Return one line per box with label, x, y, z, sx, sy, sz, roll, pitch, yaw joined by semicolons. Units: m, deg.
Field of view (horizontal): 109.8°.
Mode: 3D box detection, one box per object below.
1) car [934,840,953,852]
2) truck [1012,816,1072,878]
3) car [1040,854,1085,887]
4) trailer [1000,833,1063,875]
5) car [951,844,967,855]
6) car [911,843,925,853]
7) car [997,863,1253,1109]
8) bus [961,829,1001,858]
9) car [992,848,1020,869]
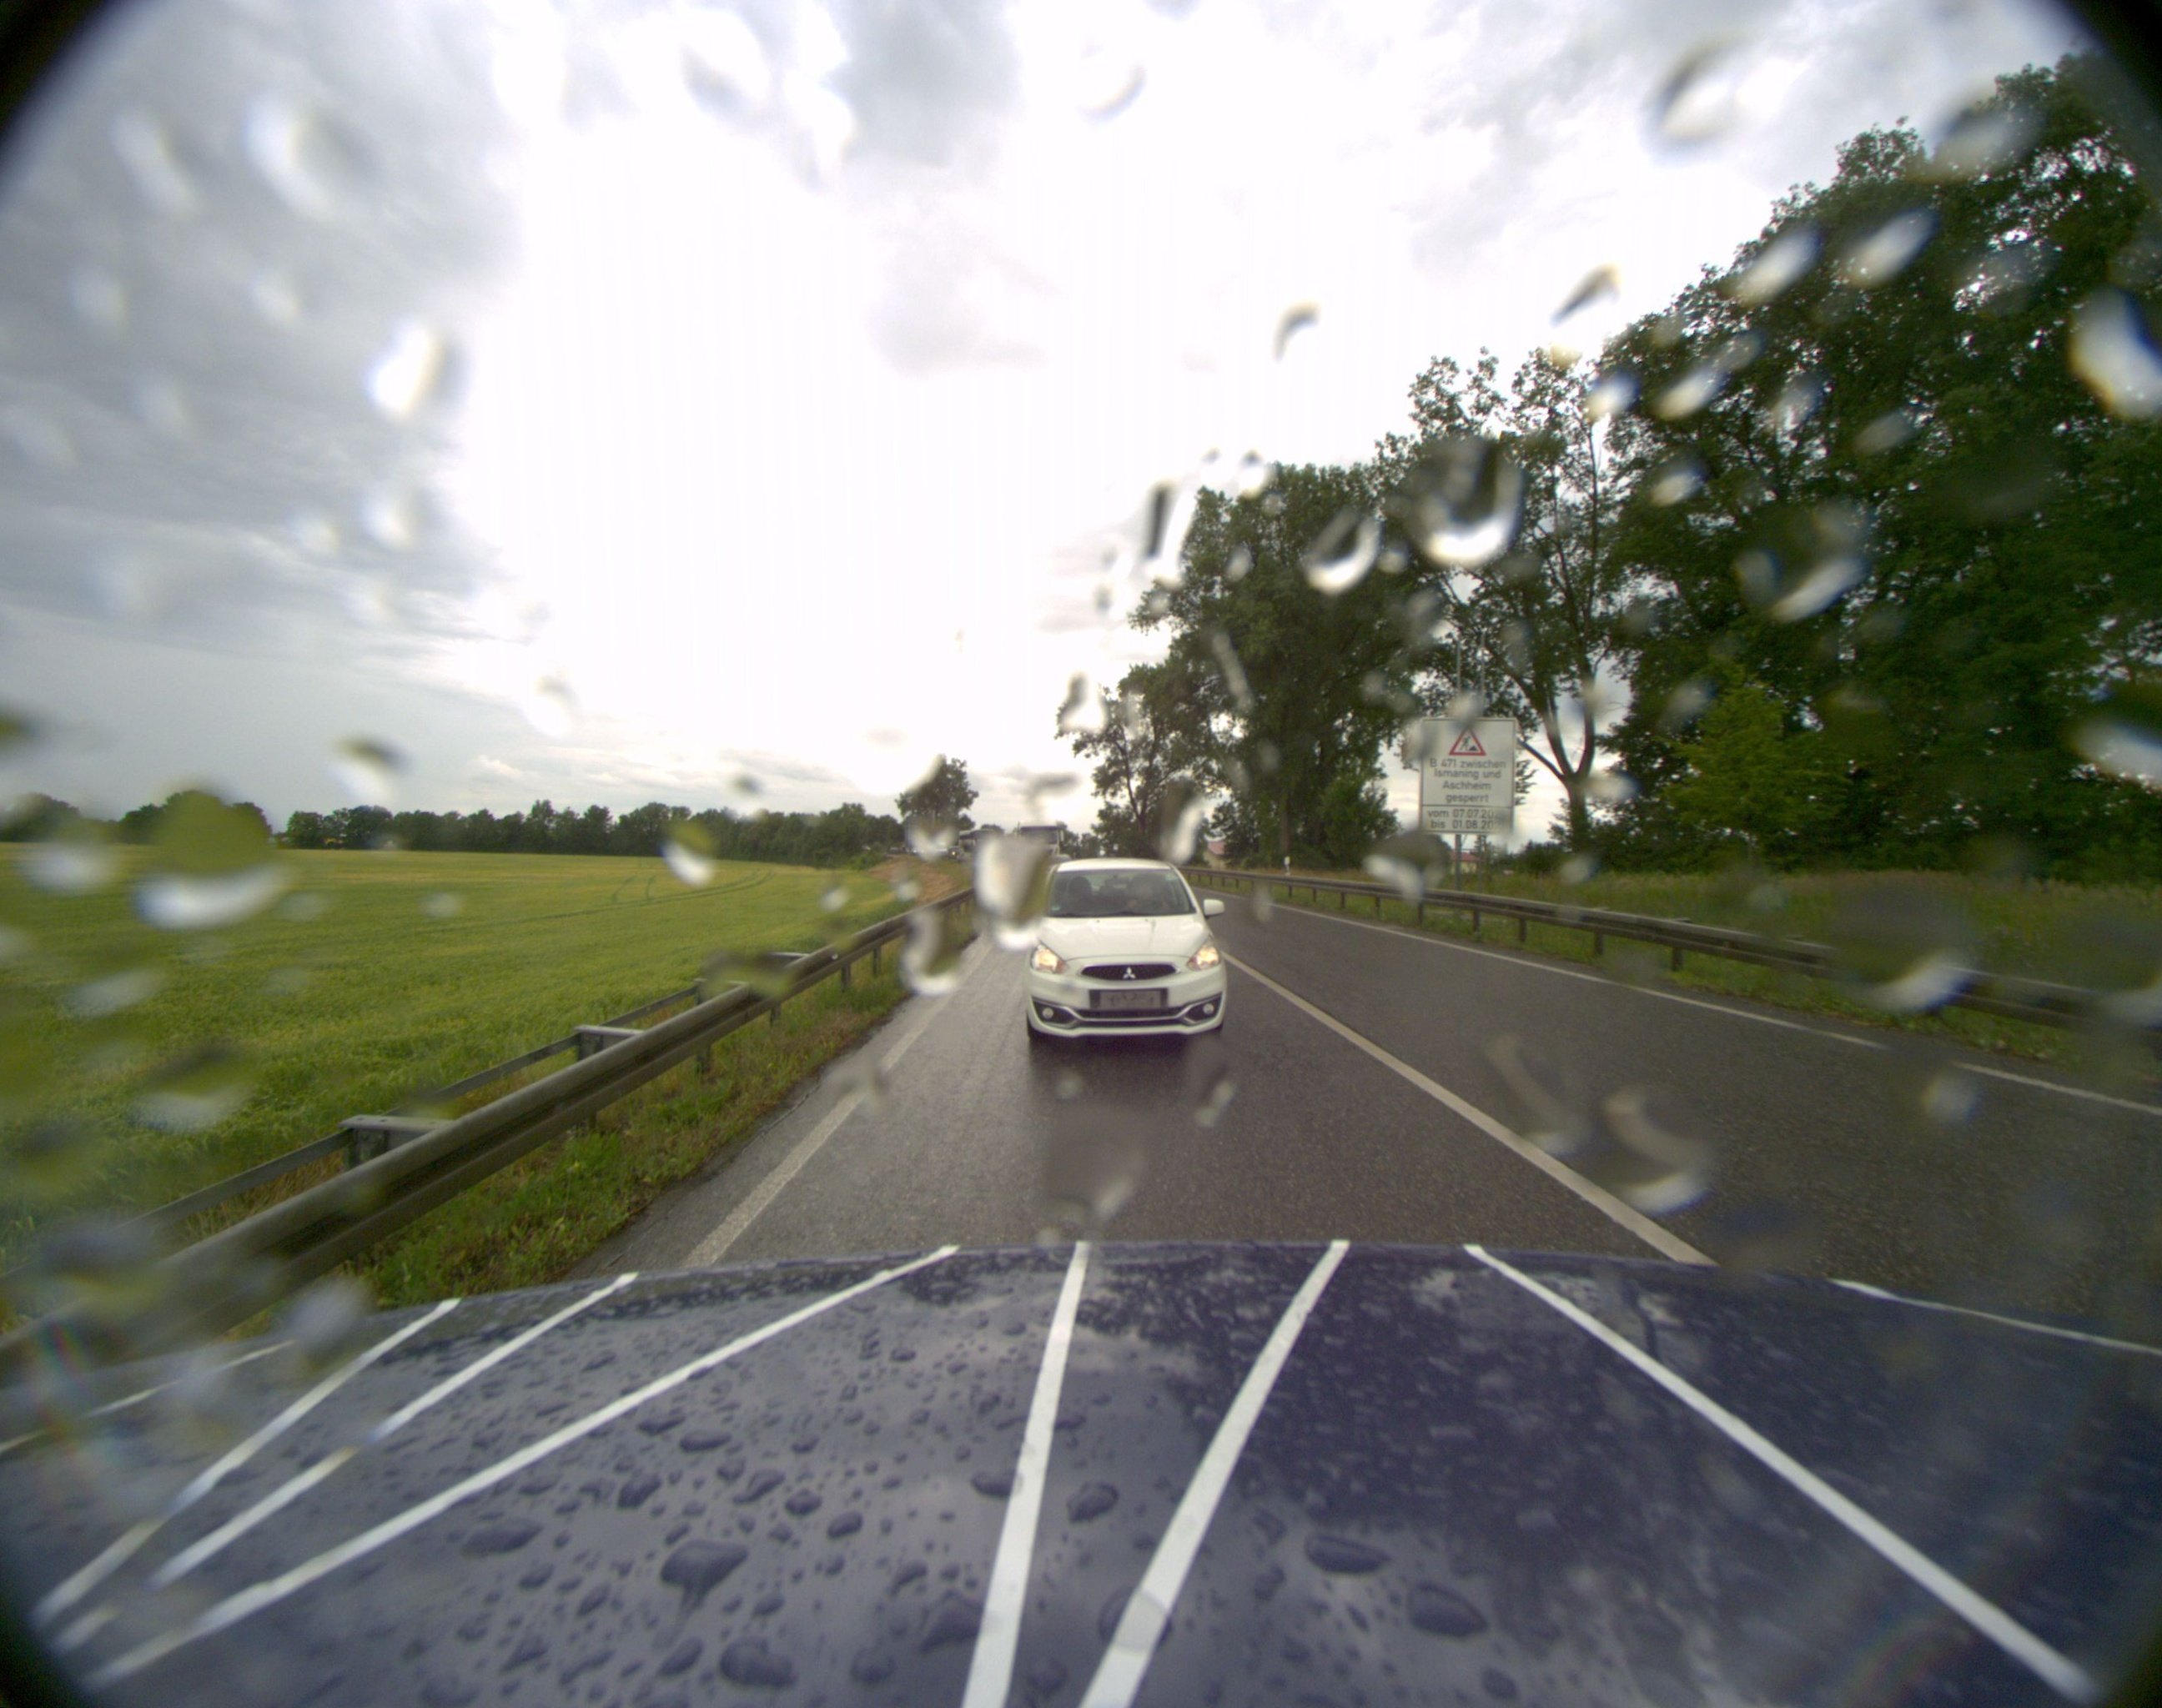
car;-23.618;-1.350;130.479;2.002;2.002;5.325;-2;1;-24
truck;-2.593;-0.477;47.974;2.986;3.589;6.074;-2;1;-10
car;-0.953;0.765;37.025;1.782;1.380;4.325;-2;1;-7
trailer;-4.011;-0.100;56.408;2.986;2.618;15.666;-2;1;-10
car;-18.207;-0.734;113.603;1.816;1.569;3.994;-2;1;-17
car;-32.647;-1.233;152.076;2.002;2.002;4.223;-2;1;-23
car;0.292;0.905;7.048;1.653;1.461;4.029;-2;1;0
bus;-12.697;-1.415;95.174;2.967;3.294;14.815;-2;2;-15
car;-7.308;0.376;73.344;2.044;1.832;5.329;-2;1;-12
